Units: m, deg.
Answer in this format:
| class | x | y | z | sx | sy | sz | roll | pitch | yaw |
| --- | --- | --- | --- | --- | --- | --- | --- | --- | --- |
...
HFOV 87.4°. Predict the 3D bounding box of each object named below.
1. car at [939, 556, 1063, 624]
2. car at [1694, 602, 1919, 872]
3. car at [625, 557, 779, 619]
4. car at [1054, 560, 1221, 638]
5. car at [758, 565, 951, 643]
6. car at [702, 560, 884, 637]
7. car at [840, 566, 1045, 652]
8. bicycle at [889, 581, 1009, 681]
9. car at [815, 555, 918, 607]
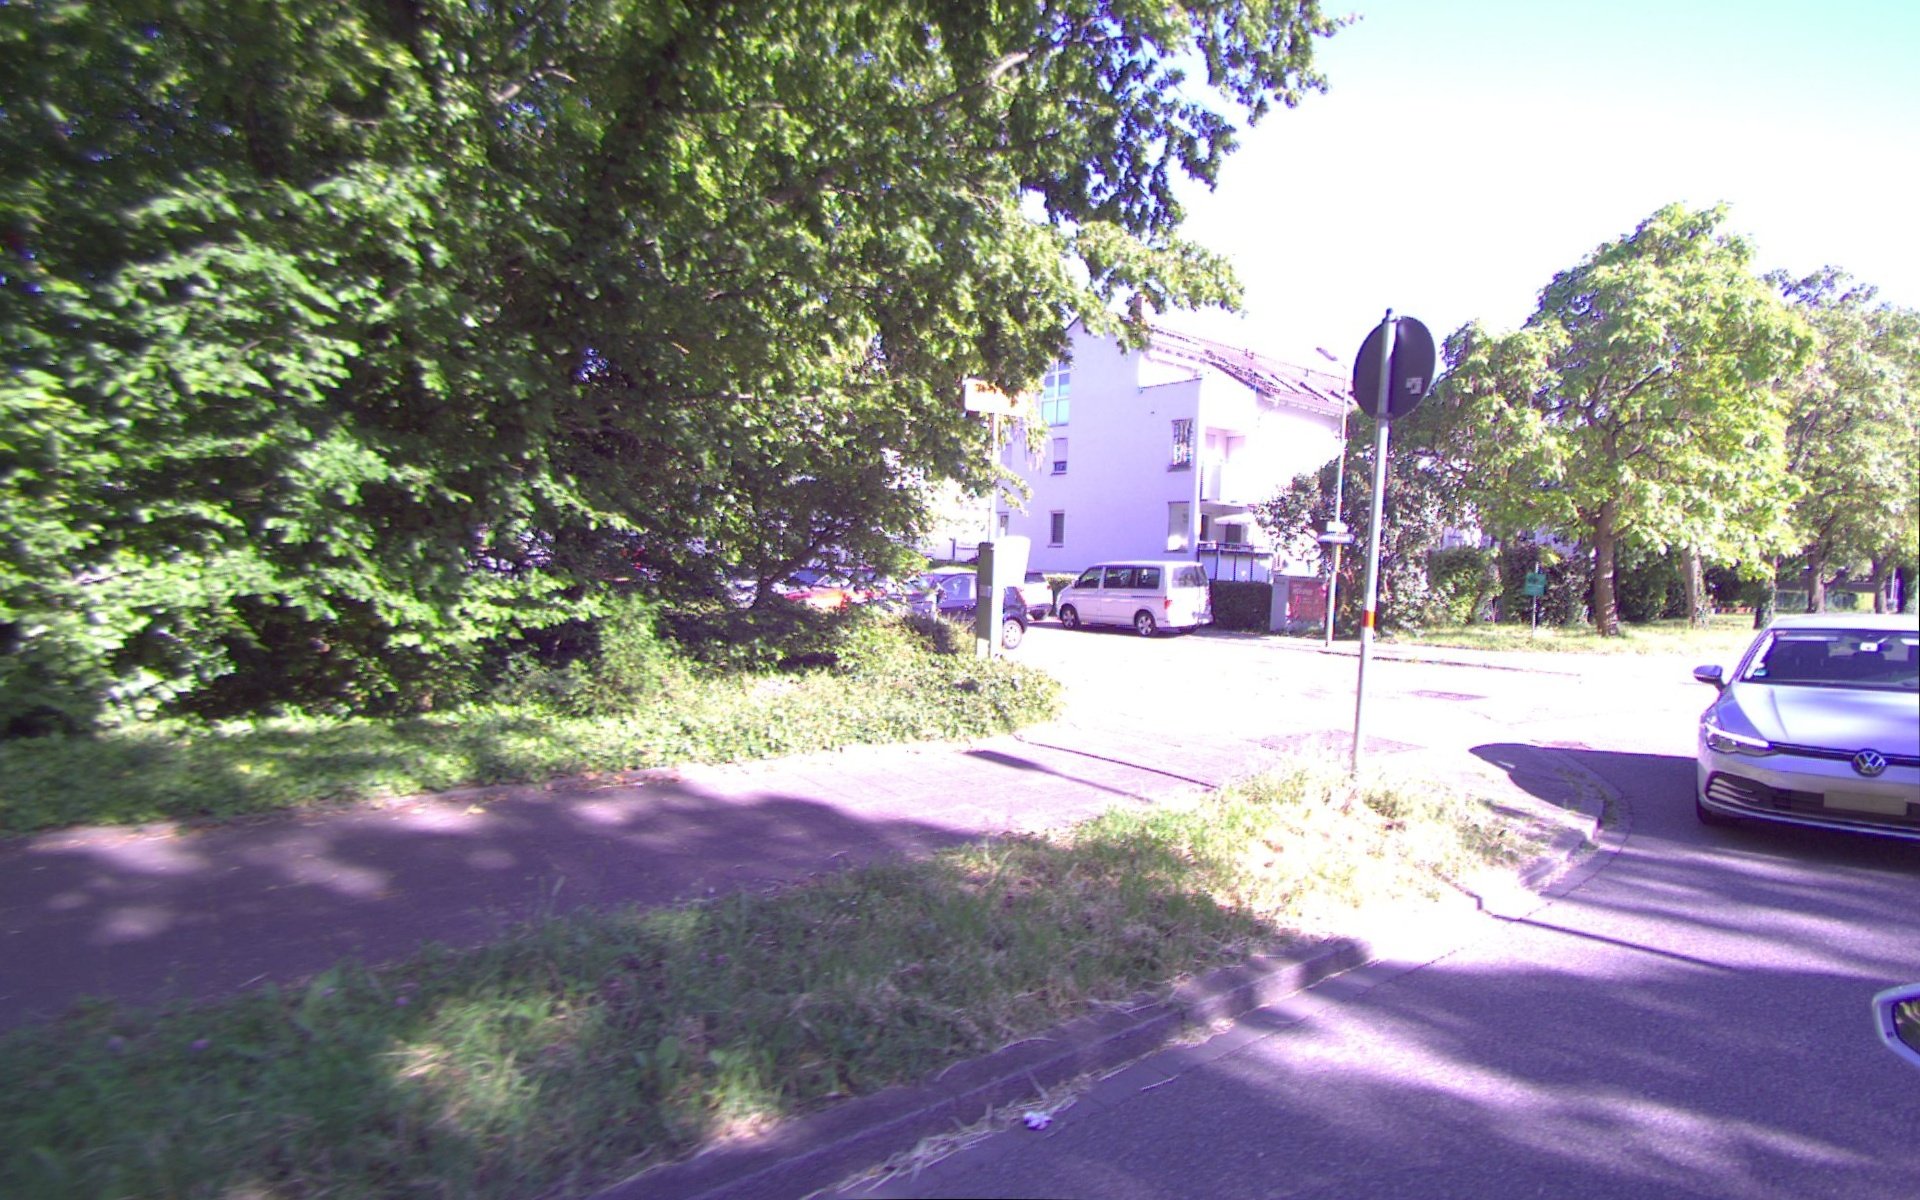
| class | x | y | z | sx | sy | sz | roll | pitch | yaw |
| --- | --- | --- | --- | --- | --- | --- | --- | --- | --- |
| car | 1.251 | -0.378 | 32.424 | 1.918 | 2.025 | 3.958 | 0 | 2 | -36 |
| car | 6.582 | 0.818 | 7.314 | 1.642 | 1.486 | 4.168 | 2 | 0 | 41 |
| car | -7.281 | -0.317 | 28.532 | 3.854 | 1.578 | 1.655 | 2 | 1 | -41 |
| car | 4.849 | -0.107 | 28.009 | 2.049 | 1.996 | 4.420 | -1 | 3 | -36 |
| car | -2.225 | 0.104 | 21.715 | 3.854 | 1.507 | 1.655 | 2 | 1 | -41 |
| car | -3.855 | -0.011 | 23.514 | 3.854 | 1.625 | 1.655 | 2 | 1 | -41 |
| car | -0.273 | 0.190 | 19.803 | 3.856 | 1.507 | 1.655 | 2 | 1 | -41 |
| bicycle | -0.184 | 0.355 | 13.120 | 0.751 | 1.168 | 1.891 | 0 | 2 | -29 |
| car | -3.577 | -0.736 | 37.868 | 1.906 | 1.807 | 4.048 | 0 | 2 | -39 |
